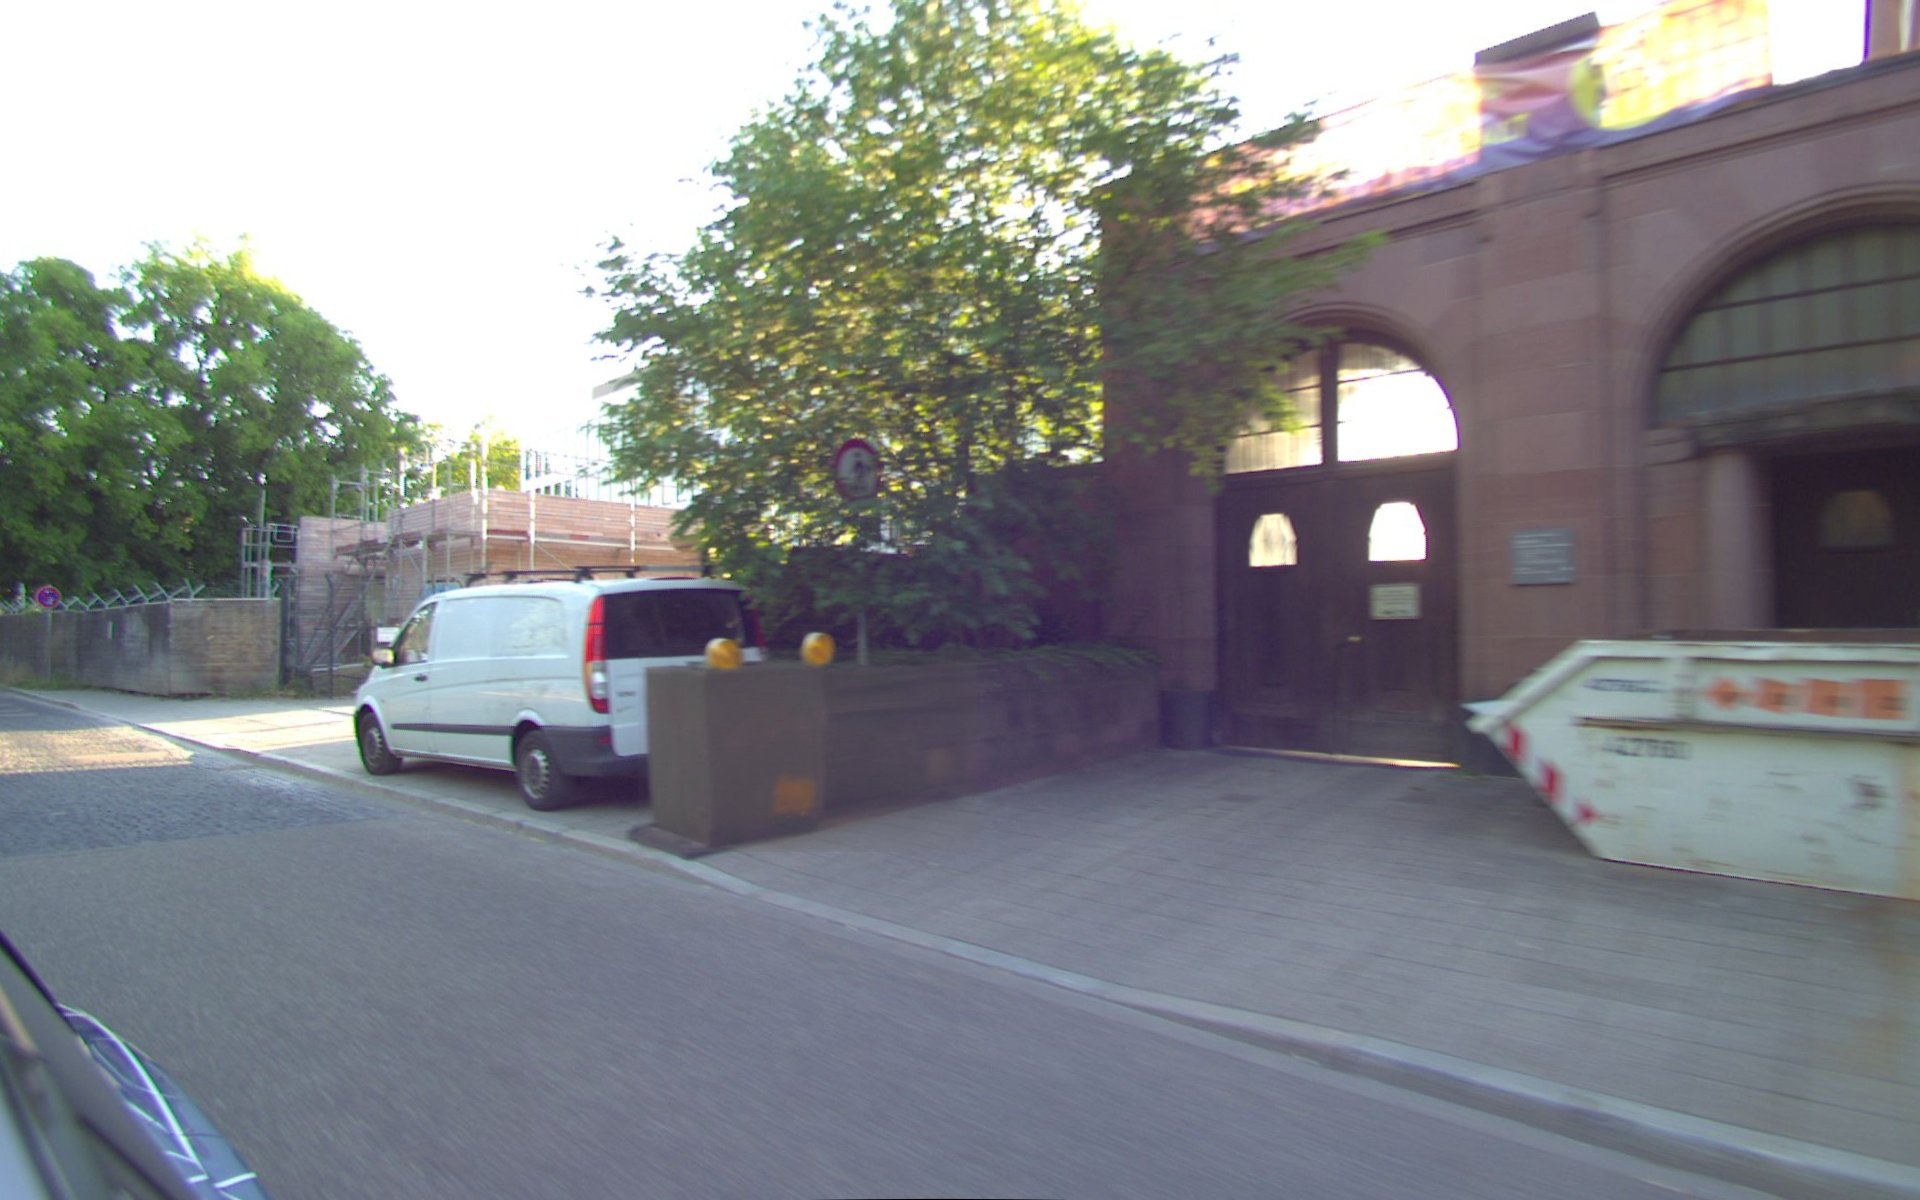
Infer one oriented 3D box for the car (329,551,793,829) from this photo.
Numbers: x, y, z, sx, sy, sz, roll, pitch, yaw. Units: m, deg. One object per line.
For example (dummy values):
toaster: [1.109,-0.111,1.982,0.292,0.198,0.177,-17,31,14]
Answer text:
car: [-4.080,0.702,9.792,5.221,2.029,1.864,-2,0,40]
